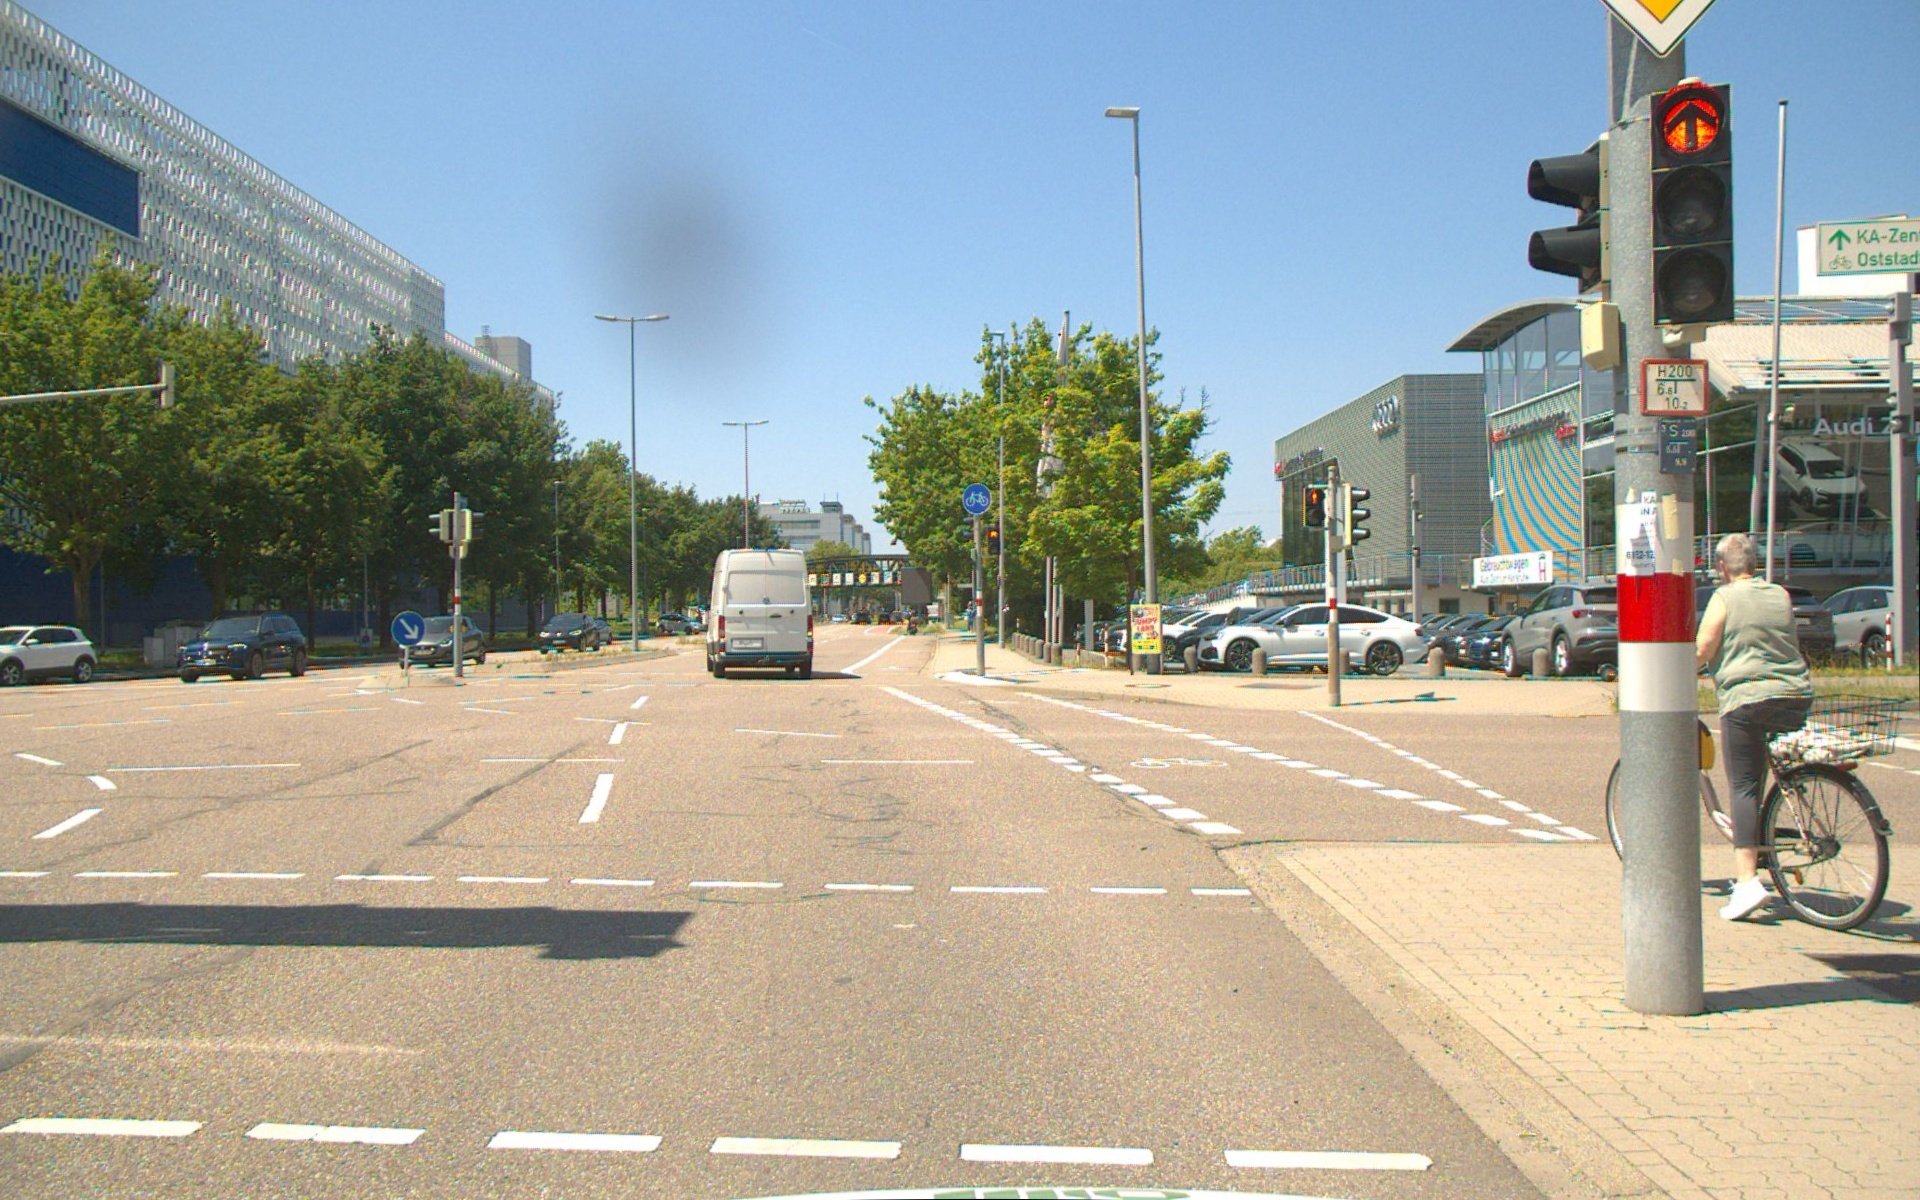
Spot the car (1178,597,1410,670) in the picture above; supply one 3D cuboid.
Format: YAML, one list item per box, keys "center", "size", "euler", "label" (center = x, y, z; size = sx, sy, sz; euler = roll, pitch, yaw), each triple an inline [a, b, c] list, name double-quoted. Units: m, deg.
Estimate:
- center: [7.160, 0.729, 35.831]
  size: [4.643, 1.482, 2.000]
  euler: [-1, -1, 1]
  label: "car"

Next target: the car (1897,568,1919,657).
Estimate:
- center: [18.843, 0.229, 29.312]
  size: [1.847, 1.668, 4.524]
  euler: [-1, 0, -1]
  label: "car"

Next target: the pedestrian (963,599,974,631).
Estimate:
- center: [0.528, 0.946, 103.361]
  size: [0.649, 1.998, 0.759]
  euler: [-1, 0, -1]
  label: "pedestrian"

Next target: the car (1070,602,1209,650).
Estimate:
- center: [6.354, 0.908, 58.913]
  size: [4.646, 1.482, 1.999]
  euler: [-2, 0, -3]
  label: "car"

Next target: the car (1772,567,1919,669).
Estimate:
- center: [16.478, 0.259, 29.295]
  size: [1.953, 1.668, 4.440]
  euler: [-1, 0, -1]
  label: "car"

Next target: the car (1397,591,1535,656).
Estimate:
- center: [16.670, 0.766, 54.623]
  size: [3.905, 2.049, 2.000]
  euler: [-1, 0, 0]
  label: "car"

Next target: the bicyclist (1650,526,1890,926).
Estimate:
- center: [3.774, 0.560, 7.757]
  size: [0.719, 1.779, 0.753]
  euler: [0, 0, -5]
  label: "bicyclist"

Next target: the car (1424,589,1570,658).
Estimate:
- center: [16.779, 0.723, 51.809]
  size: [3.905, 2.049, 2.000]
  euler: [-1, 0, 0]
  label: "car"

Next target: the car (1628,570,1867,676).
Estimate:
- center: [13.684, 0.358, 29.073]
  size: [1.953, 1.668, 4.557]
  euler: [-1, 0, -1]
  label: "car"

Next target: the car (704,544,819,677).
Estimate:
- center: [-4.291, 0.225, 35.011]
  size: [2.058, 2.578, 5.786]
  euler: [0, -1, -11]
  label: "car"

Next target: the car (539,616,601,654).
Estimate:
- center: [-15.679, 1.394, 66.678]
  size: [1.650, 1.436, 3.664]
  euler: [-1, -1, -1]
  label: "car"

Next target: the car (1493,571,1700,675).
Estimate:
- center: [11.087, 0.356, 29.163]
  size: [1.953, 1.668, 4.267]
  euler: [-1, 0, -1]
  label: "car"

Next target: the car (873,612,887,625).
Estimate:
- center: [-10.888, 2.530, 225.552]
  size: [1.736, 1.758, 3.999]
  euler: [-1, -1, -1]
  label: "car"

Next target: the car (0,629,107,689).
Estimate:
- center: [-24.889, 1.563, 44.016]
  size: [1.587, 1.483, 4.073]
  euler: [-1, -1, 14]
  label: "car"

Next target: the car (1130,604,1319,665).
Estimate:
- center: [6.952, 0.894, 43.867]
  size: [4.646, 1.482, 1.999]
  euler: [-1, 0, -3]
  label: "car"

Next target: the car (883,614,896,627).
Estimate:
- center: [-10.084, 2.933, 236.114]
  size: [1.736, 1.758, 3.999]
  euler: [-1, -1, -1]
  label: "car"

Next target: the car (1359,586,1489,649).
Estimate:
- center: [15.975, 0.587, 57.084]
  size: [3.905, 2.049, 2.000]
  euler: [-1, 0, 0]
  label: "car"

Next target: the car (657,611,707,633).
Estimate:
- center: [-24.805, 1.930, 147.648]
  size: [3.930, 1.842, 2.002]
  euler: [1, 0, 14]
  label: "car"

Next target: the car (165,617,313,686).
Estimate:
- center: [-18.330, 1.266, 42.284]
  size: [1.837, 1.626, 4.495]
  euler: [-1, -1, -1]
  label: "car"

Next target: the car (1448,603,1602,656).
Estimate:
- center: [16.864, 0.874, 49.468]
  size: [4.008, 1.486, 1.719]
  euler: [-1, 0, 0]
  label: "car"

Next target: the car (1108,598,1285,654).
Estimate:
- center: [6.619, 0.710, 46.649]
  size: [4.646, 1.482, 1.999]
  euler: [-1, 0, -3]
  label: "car"

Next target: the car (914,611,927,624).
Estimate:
- center: [-5.466, 2.439, 228.482]
  size: [1.736, 1.758, 3.999]
  euler: [-1, -1, -1]
  label: "car"

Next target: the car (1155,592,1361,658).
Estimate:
- center: [7.143, 0.581, 40.036]
  size: [4.643, 1.482, 2.000]
  euler: [-1, 0, 1]
  label: "car"

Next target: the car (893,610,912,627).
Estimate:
- center: [-3.659, 1.178, 105.298]
  size: [1.114, 1.060, 2.308]
  euler: [-1, 0, -1]
  label: "car"

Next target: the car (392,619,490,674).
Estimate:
- center: [-15.238, 1.340, 48.724]
  size: [1.697, 1.452, 3.705]
  euler: [-3, -1, -1]
  label: "car"

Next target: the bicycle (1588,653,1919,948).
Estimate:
- center: [3.793, 0.863, 7.859]
  size: [0.771, 1.147, 1.919]
  euler: [0, 0, -4]
  label: "bicycle"

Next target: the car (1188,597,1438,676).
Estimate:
- center: [7.040, 0.717, 33.369]
  size: [4.643, 1.482, 2.000]
  euler: [-1, 0, 1]
  label: "car"
